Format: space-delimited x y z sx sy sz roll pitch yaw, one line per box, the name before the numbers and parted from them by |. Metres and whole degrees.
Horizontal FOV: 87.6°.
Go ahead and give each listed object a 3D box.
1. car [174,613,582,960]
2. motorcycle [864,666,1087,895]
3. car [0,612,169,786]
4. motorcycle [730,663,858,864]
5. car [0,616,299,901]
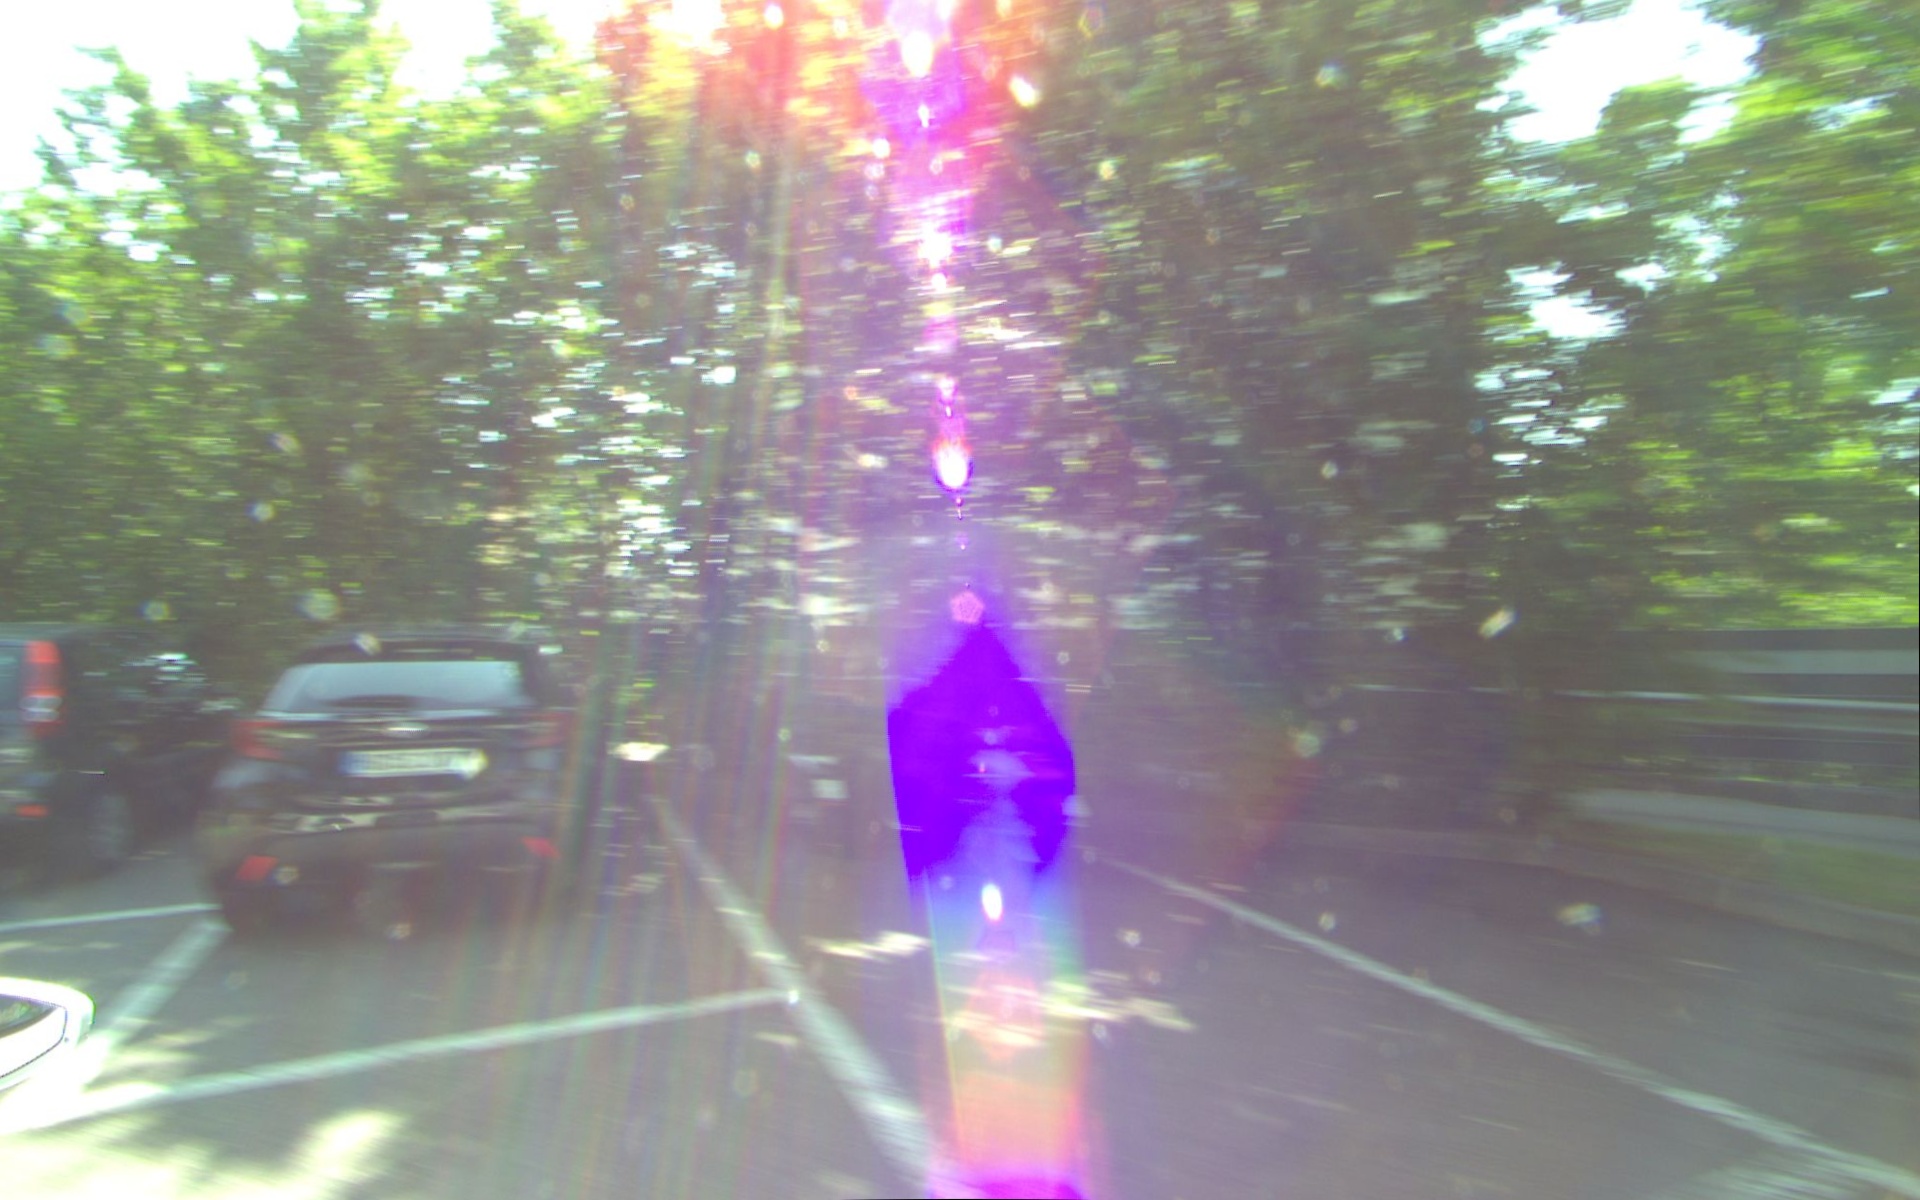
car | -3.322 0.836 6.422 1.633 1.489 3.893 1 -1 -21
motorcycle | 0.040 1.019 6.185 0.563 1.184 1.595 1 -2 -34
car | -9.407 0.863 9.397 1.743 1.489 3.993 0 -1 -17
motorcycle | -1.180 1.040 6.875 0.467 1.155 1.600 1 -1 -24
car | -6.153 0.853 6.907 1.675 1.472 3.992 0 -1 -19
